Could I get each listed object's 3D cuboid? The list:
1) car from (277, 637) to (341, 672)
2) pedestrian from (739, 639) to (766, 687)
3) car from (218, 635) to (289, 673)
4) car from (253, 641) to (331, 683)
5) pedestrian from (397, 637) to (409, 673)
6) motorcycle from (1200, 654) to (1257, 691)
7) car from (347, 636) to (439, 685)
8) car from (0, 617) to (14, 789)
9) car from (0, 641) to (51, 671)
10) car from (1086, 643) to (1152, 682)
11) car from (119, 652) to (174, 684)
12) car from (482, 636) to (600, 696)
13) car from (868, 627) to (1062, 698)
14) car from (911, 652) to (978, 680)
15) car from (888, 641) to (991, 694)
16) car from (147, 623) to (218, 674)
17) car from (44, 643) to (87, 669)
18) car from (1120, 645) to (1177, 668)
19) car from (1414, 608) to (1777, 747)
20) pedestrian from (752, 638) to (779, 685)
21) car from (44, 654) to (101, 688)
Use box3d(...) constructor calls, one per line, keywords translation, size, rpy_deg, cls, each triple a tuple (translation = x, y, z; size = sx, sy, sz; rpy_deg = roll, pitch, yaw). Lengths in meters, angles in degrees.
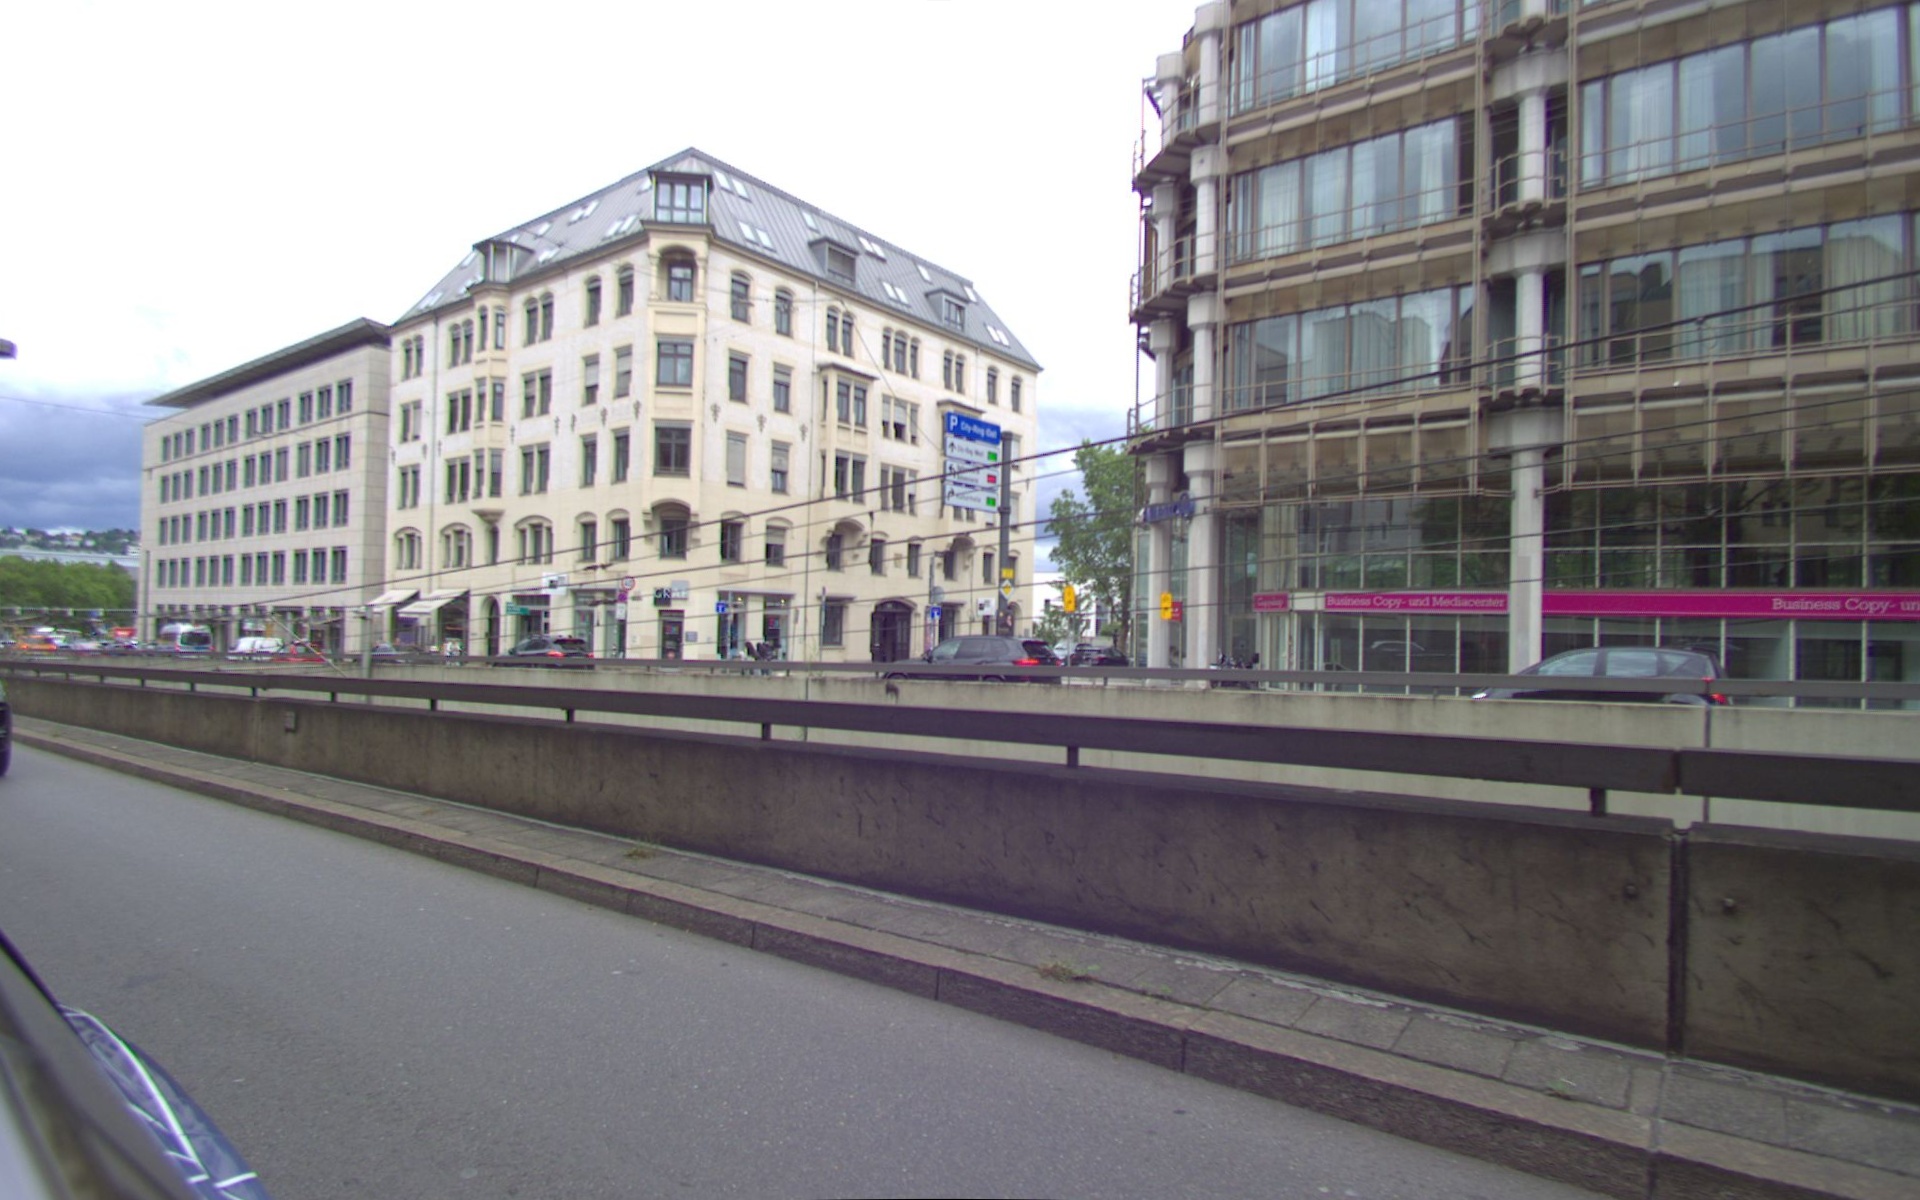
box3d(translation=(-38.851, 3.238, 60.366), size=(3.994, 2.029, 1.974), rpy_deg=(-2, -3, 38), cls="car")
box3d(translation=(-7.610, 2.298, 37.128), size=(0.684, 1.724, 0.705), rpy_deg=(-2, -3, 27), cls="pedestrian")
box3d(translation=(-39.536, 2.972, 56.600), size=(4.784, 2.029, 1.974), rpy_deg=(-1, -1, 38), cls="car")
box3d(translation=(-34.681, 3.157, 52.488), size=(4.784, 2.029, 1.974), rpy_deg=(-1, -1, 38), cls="car")
box3d(translation=(-28.090, 2.764, 51.080), size=(0.502, 1.793, 0.579), rpy_deg=(1, -2, -28), cls="pedestrian")
box3d(translation=(8.332, 2.234, 31.359), size=(1.659, 1.083, 0.640), rpy_deg=(-1, -1, 18), cls="motorcycle")
box3d(translation=(-25.554, 2.687, 45.553), size=(4.784, 2.029, 1.974), rpy_deg=(-1, -1, 38), cls="car")
box3d(translation=(-12.123, 1.093, 10.890), size=(5.344, 1.688, 2.063), rpy_deg=(-2, -2, 38), cls="car")
box3d(translation=(-68.777, 4.105, 74.442), size=(4.783, 2.029, 2.089), rpy_deg=(-1, -1, 38), cls="car")
box3d(translation=(7.382, 2.850, 46.696), size=(1.646, 1.674, 3.557), rpy_deg=(-2, -3, 34), cls="car")
box3d(translation=(-56.318, 4.688, 70.006), size=(4.784, 2.029, 1.974), rpy_deg=(-1, -1, 38), cls="car")
box3d(translation=(-15.612, 2.379, 37.581), size=(4.784, 2.029, 1.974), rpy_deg=(-1, -1, 38), cls="car")
box3d(translation=(0.061, 1.488, 24.837), size=(4.634, 1.572, 1.797), rpy_deg=(-2, -3, 37), cls="car")
box3d(translation=(-0.714, 3.179, 48.983), size=(1.644, 1.243, 3.562), rpy_deg=(-1, -3, 31), cls="car")
box3d(translation=(-0.641, 2.234, 34.103), size=(1.646, 1.674, 3.606), rpy_deg=(-2, -3, 35), cls="car")
box3d(translation=(-49.267, 3.003, 64.103), size=(5.462, 3.084, 2.341), rpy_deg=(-1, -1, 38), cls="car")
box3d(translation=(-72.151, 4.523, 81.644), size=(3.996, 2.029, 1.973), rpy_deg=(-2, -3, 40), cls="car")
box3d(translation=(9.538, 2.839, 51.139), size=(1.535, 1.140, 3.557), rpy_deg=(-2, -3, 34), cls="car")
box3d(translation=(10.266, 1.196, 16.639), size=(4.782, 1.978, 1.975), rpy_deg=(-2, -3, 37), cls="car")
box3d(translation=(-7.268, 2.306, 37.834), size=(0.684, 1.724, 0.705), rpy_deg=(-2, -3, 27), cls="pedestrian")
box3d(translation=(-57.829, 4.594, 65.934), size=(4.784, 2.029, 1.974), rpy_deg=(-1, -1, 38), cls="car")
